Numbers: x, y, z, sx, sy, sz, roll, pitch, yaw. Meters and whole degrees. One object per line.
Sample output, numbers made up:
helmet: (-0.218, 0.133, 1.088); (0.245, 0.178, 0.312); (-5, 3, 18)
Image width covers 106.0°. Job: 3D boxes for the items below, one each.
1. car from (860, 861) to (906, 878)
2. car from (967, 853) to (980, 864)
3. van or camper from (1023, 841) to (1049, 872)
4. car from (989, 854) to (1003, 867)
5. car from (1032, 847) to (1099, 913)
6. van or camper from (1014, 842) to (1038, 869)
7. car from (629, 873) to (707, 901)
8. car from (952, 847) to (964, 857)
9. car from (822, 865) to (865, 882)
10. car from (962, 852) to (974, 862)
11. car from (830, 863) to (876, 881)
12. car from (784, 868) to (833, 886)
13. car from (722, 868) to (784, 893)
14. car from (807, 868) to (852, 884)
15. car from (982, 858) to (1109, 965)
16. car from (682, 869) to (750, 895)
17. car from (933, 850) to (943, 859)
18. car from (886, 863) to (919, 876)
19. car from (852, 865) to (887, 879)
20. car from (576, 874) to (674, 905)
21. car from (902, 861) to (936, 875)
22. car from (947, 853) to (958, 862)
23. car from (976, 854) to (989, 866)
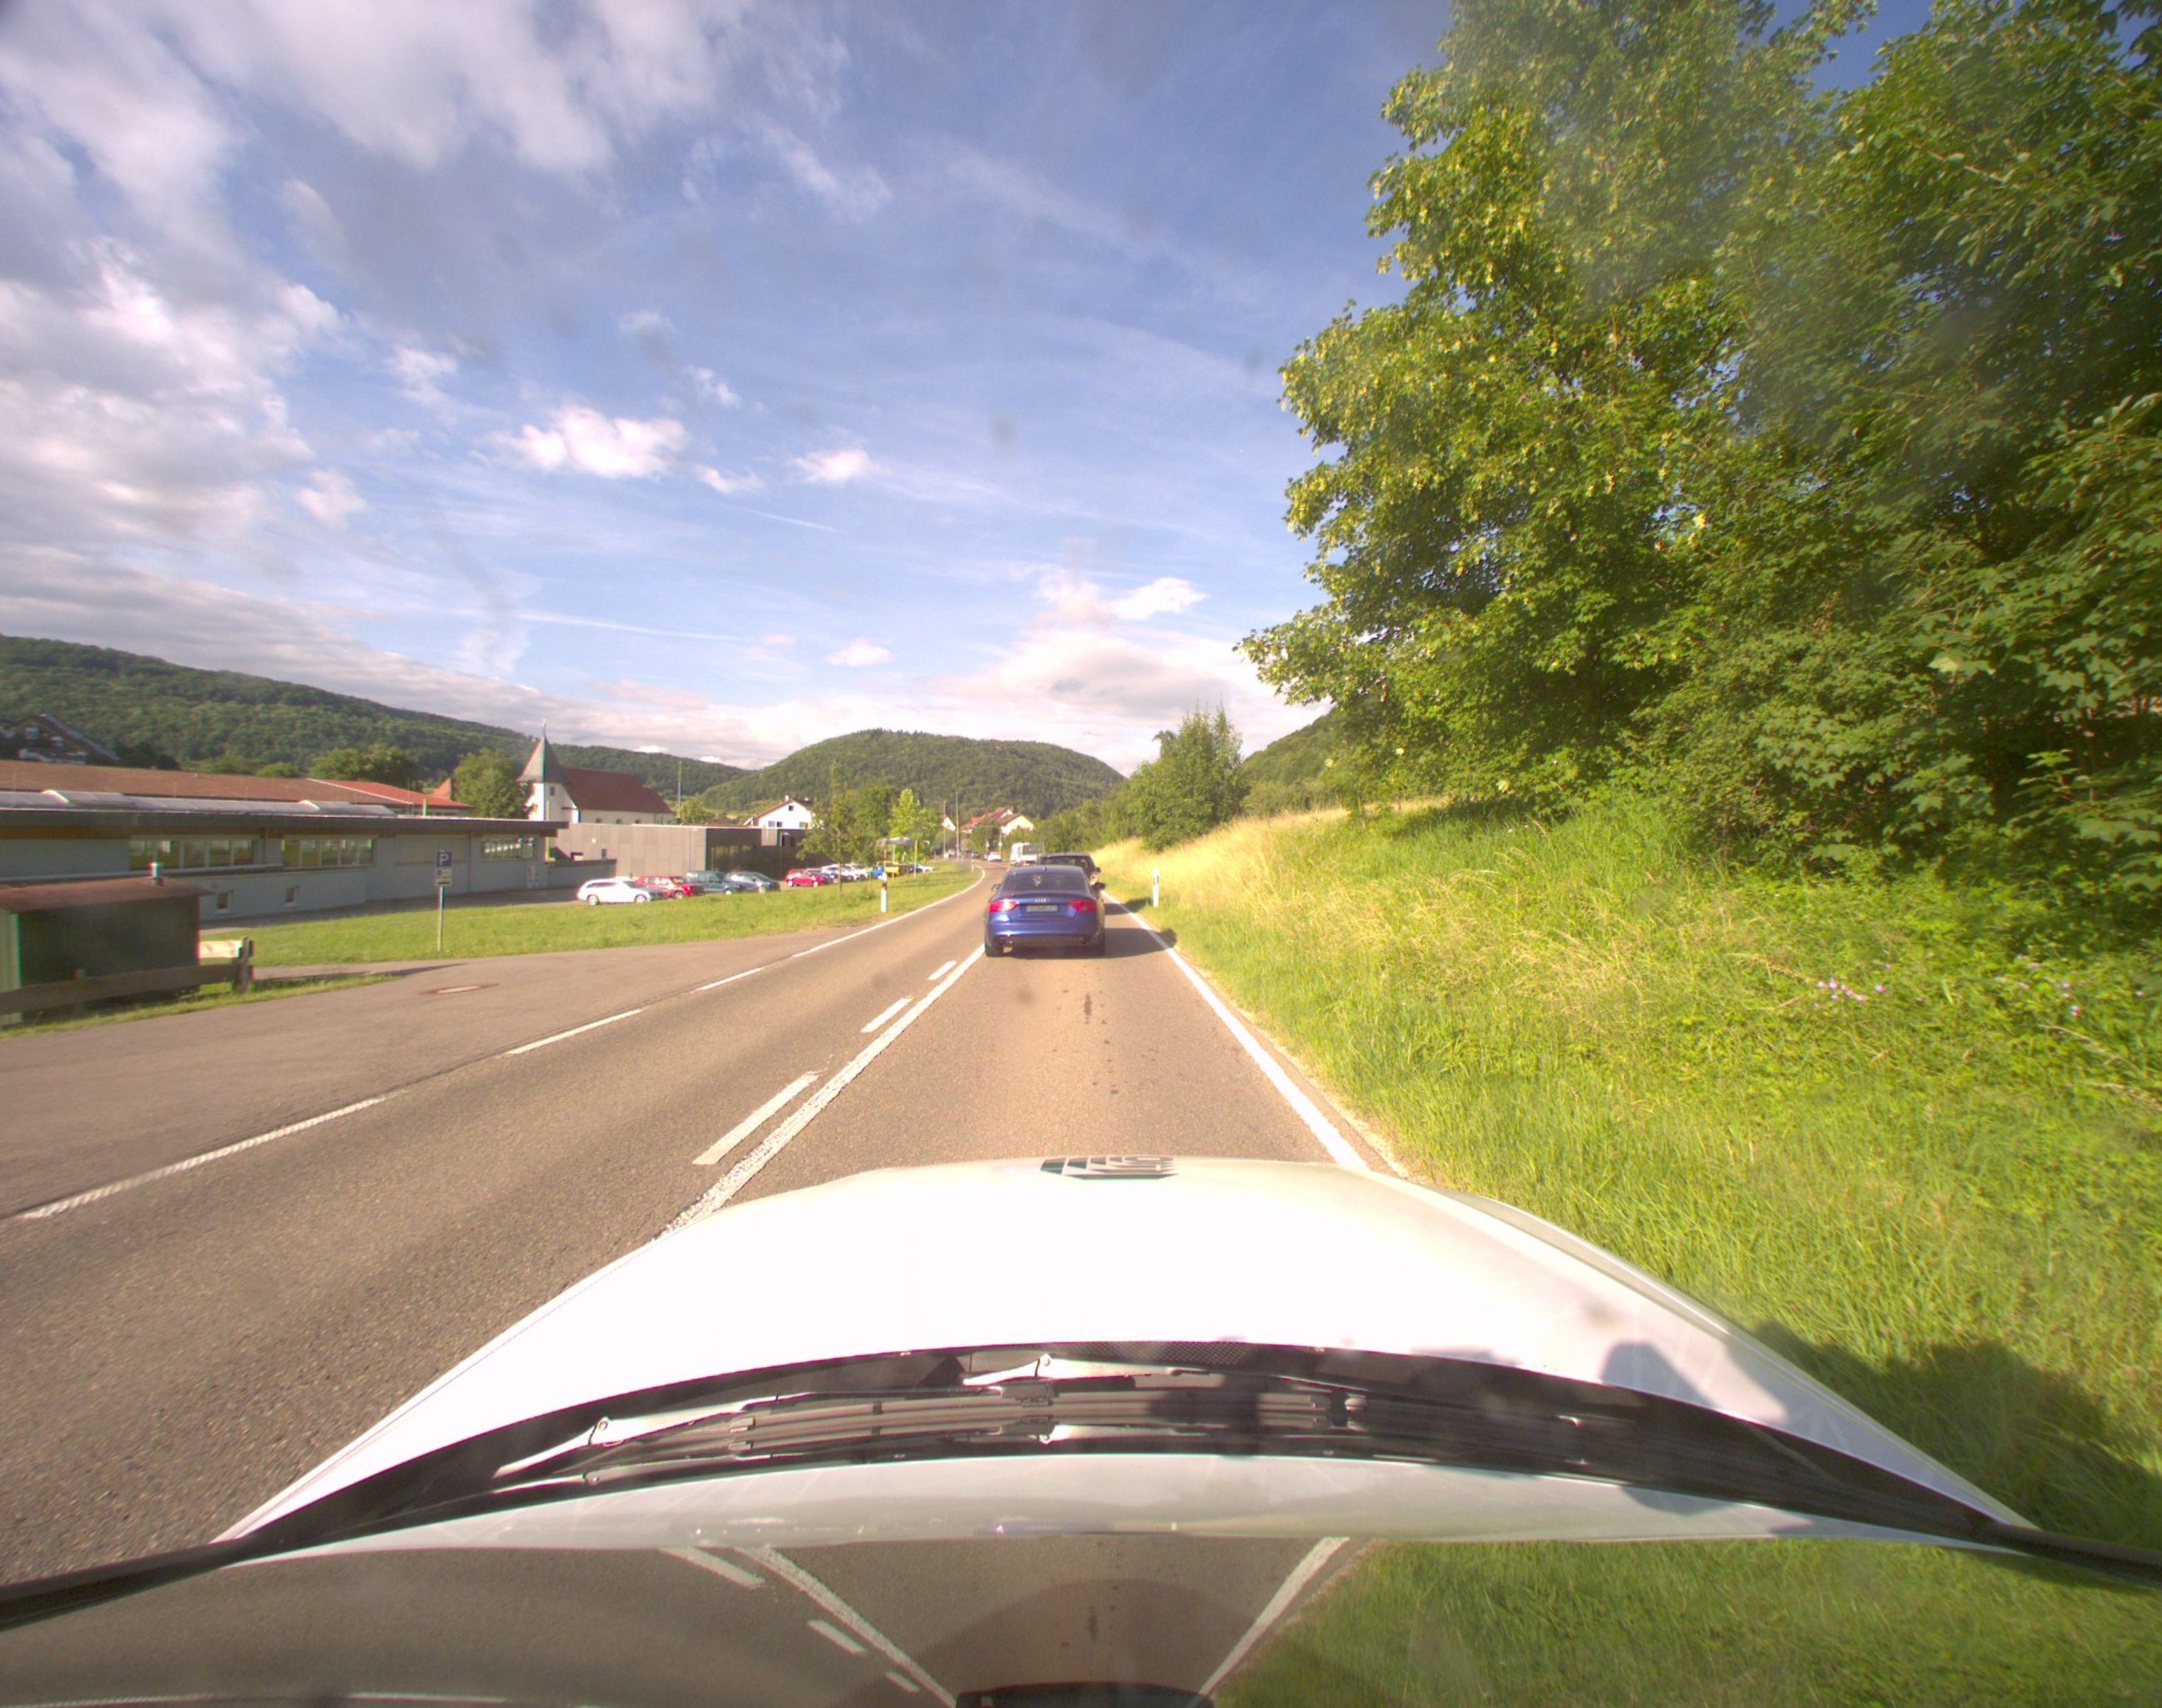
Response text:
car: (-22.056, 1.722, 90.943); (4.530, 1.815, 1.844); (-2, 0, 5)
car: (-19.801, 0.873, 149.988); (1.663, 1.924, 3.977); (-2, 0, -17)
van or camper: (-3.890, 0.200, 69.304); (2.048, 2.505, 5.802); (-2, 0, -4)
car: (-12.763, 0.985, 121.937); (1.661, 1.924, 3.984); (-2, 0, -12)
car: (-0.424, 0.649, 21.929); (1.641, 1.625, 3.515); (0, 0, -2)
van or camper: (-6.018, 0.161, 87.854); (2.278, 2.714, 5.754); (-2, 0, -6)
car: (-25.553, 2.045, 50.437); (3.901, 1.579, 1.758); (-1, 0, 4)
car: (-25.531, -0.360, 169.359); (1.682, 1.924, 3.974); (-2, 0, -19)
car: (-23.042, 1.867, 79.046); (3.648, 1.494, 1.599); (-2, -1, 5)
car: (-22.219, 0.538, 159.563); (1.681, 1.924, 3.975); (-2, 0, -18)
car: (-23.080, 1.831, 82.454); (4.057, 1.673, 1.599); (-2, 1, 5)
car: (-23.660, 1.984, 70.819); (3.606, 1.444, 1.651); (-2, 0, 5)
car: (-24.421, 1.972, 60.695); (3.800, 1.722, 1.734); (-1, 0, 4)
car: (-23.419, 2.047, 75.940); (3.606, 1.405, 1.599); (-2, -1, 5)
car: (-0.509, 0.809, 13.115); (1.737, 1.450, 3.516); (-1, 0, -1)
car: (-25.108, 1.915, 56.066); (3.846, 1.722, 1.757); (0, 0, 2)
car: (-34.222, 0.162, 195.203); (1.682, 1.924, 3.974); (-2, 0, -19)
car: (-22.187, 1.918, 101.170); (3.694, 1.439, 1.512); (-2, 0, 5)
car: (-22.963, 1.970, 88.367); (3.360, 1.373, 1.659); (-2, 0, -2)
car: (-26.583, 2.048, 47.579); (4.619, 1.589, 2.003); (-1, 0, 4)
car: (-20.948, 1.768, 105.474); (4.015, 1.660, 1.658); (-2, 0, 5)
car: (-28.134, 0.743, 178.730); (1.682, 1.924, 3.974); (-2, 0, -19)
car: (-16.154, 0.977, 133.123); (1.662, 1.924, 3.981); (-2, 0, -14)
